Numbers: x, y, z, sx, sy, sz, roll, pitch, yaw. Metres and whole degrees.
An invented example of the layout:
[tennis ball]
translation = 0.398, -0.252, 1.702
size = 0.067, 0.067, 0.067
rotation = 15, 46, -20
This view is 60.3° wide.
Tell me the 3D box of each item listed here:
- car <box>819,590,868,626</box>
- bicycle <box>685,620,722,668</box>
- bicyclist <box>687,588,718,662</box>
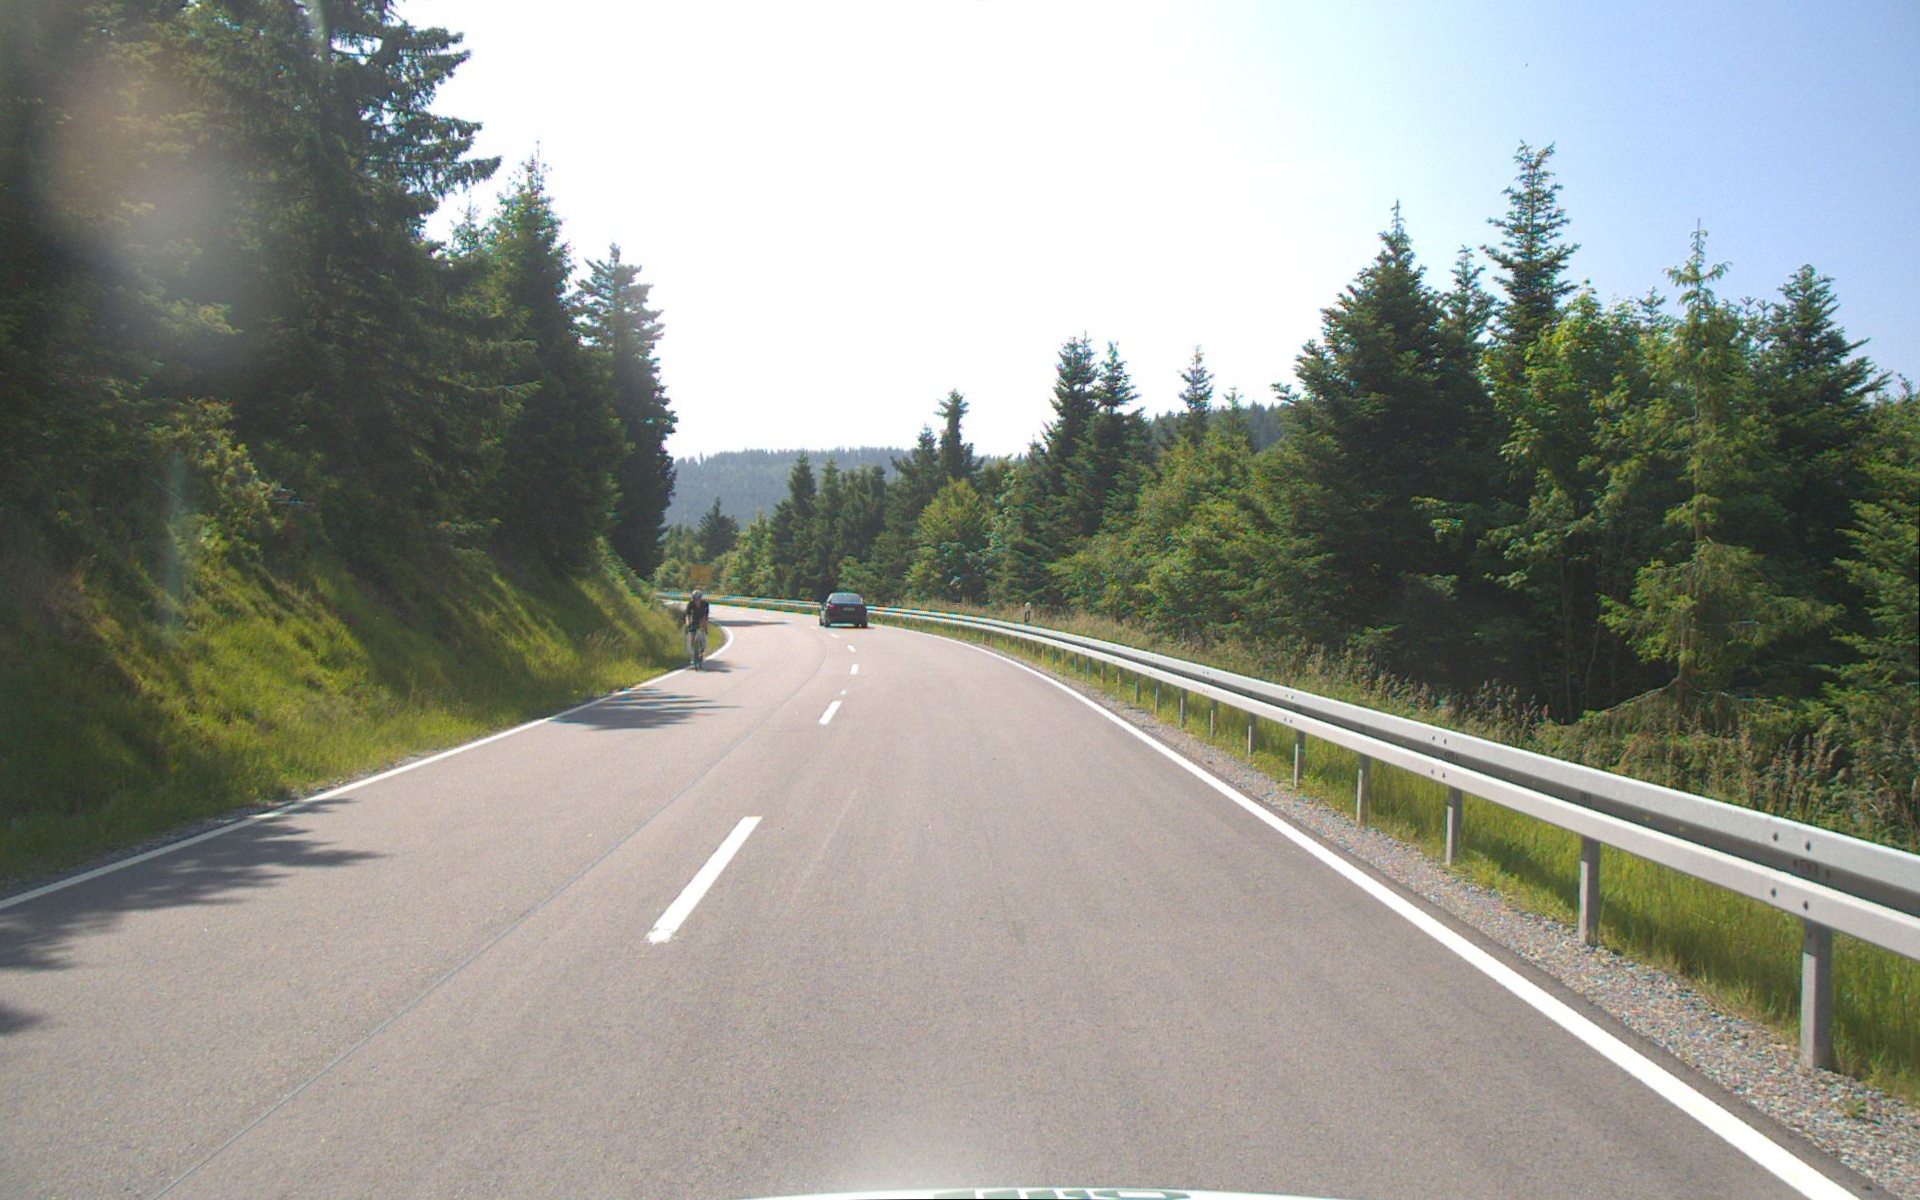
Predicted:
[car]
translation = -4.938, 0.326, 69.718
size = 1.743, 1.467, 3.701
rotation = -1, 0, -9
[bicycle]
translation = -5.244, 0.889, 33.853
size = 0.542, 0.902, 2.061
rotation = -1, 0, -4
[bicyclist]
translation = -5.247, 0.496, 33.743
size = 0.531, 1.476, 0.983
rotation = -1, 0, -3
